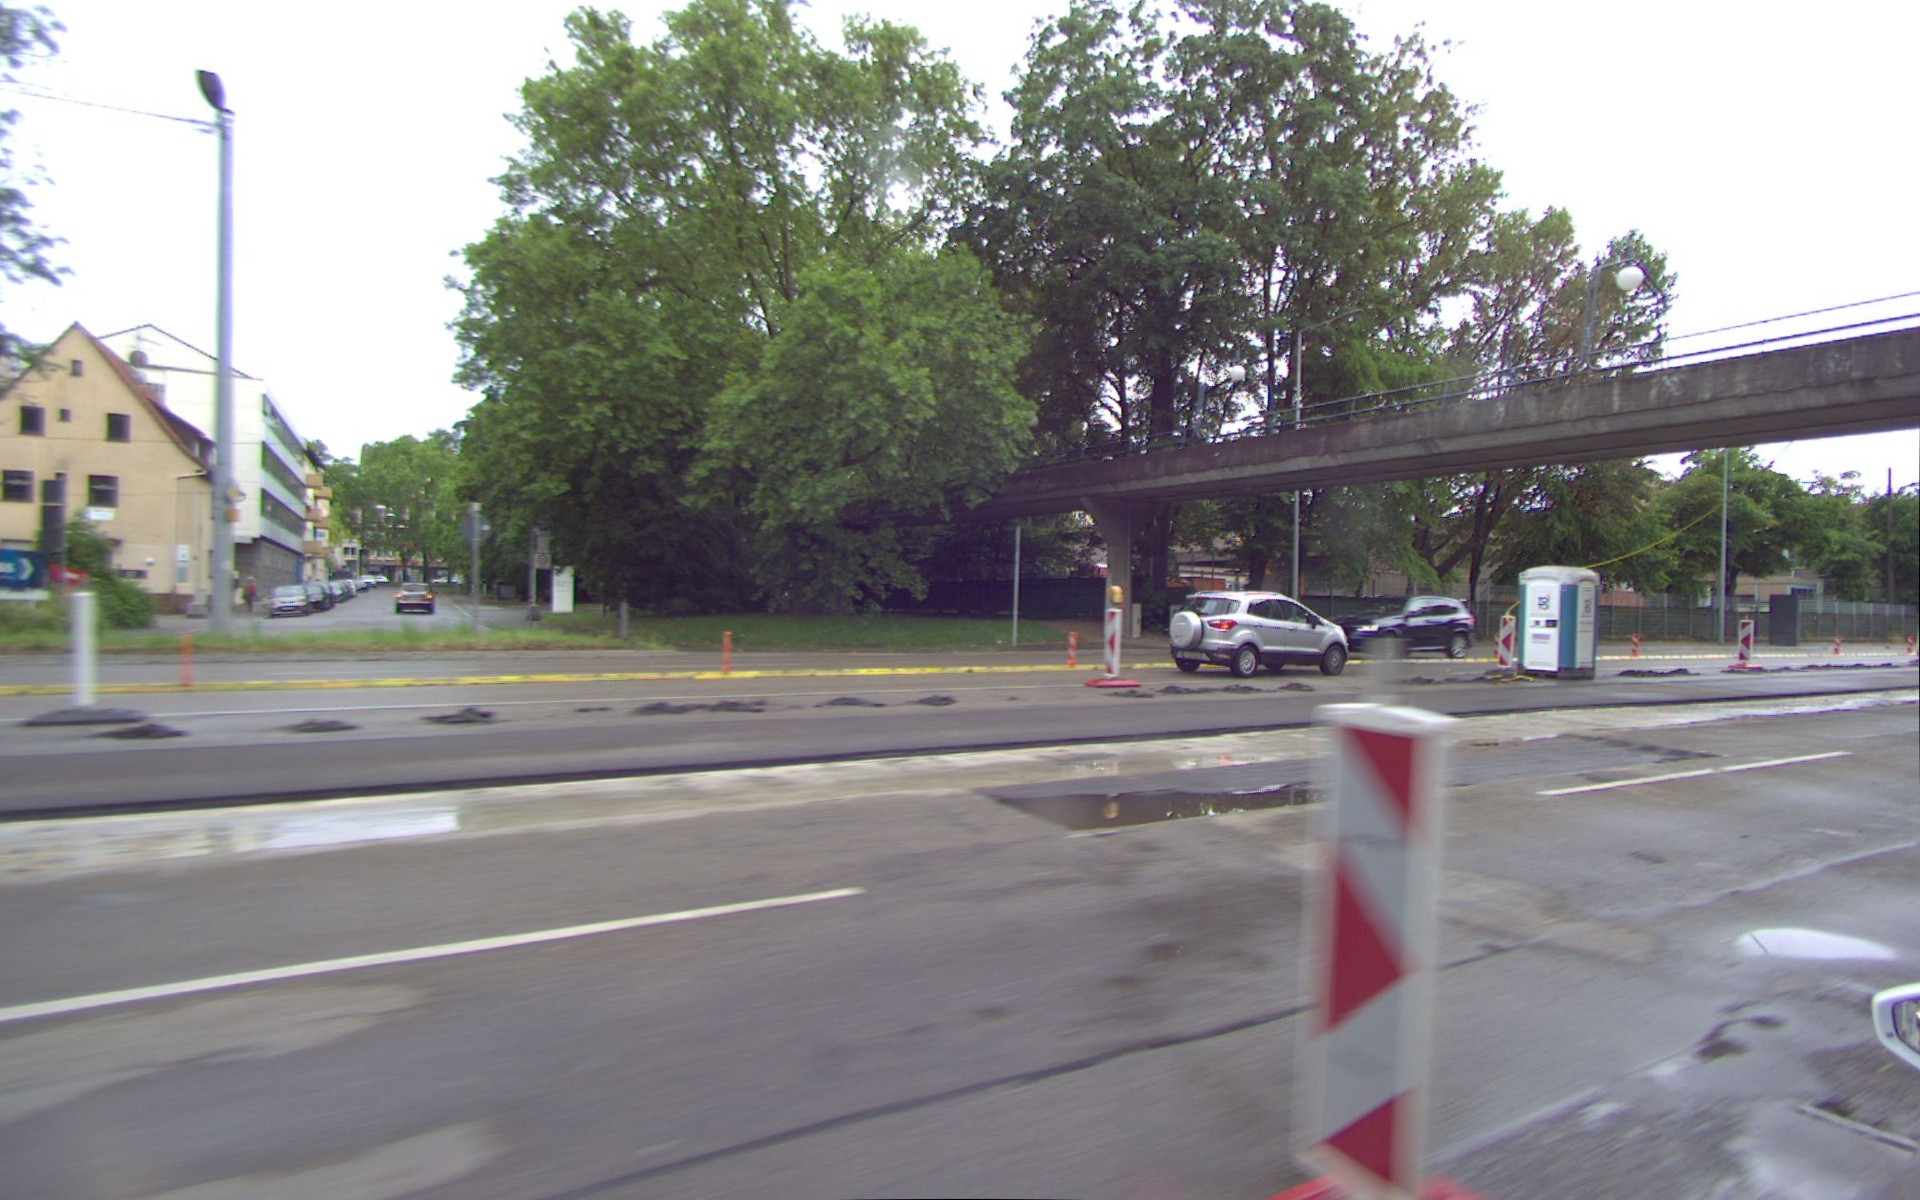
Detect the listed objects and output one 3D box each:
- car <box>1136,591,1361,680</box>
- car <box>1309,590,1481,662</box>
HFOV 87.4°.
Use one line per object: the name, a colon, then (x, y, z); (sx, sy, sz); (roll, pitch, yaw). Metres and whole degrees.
car: (5.823, 0.666, 20.147); (4.313, 1.585, 1.879); (1, 1, -31)
car: (11.925, 0.718, 27.492); (4.551, 1.830, 1.962); (1, -1, -29)
